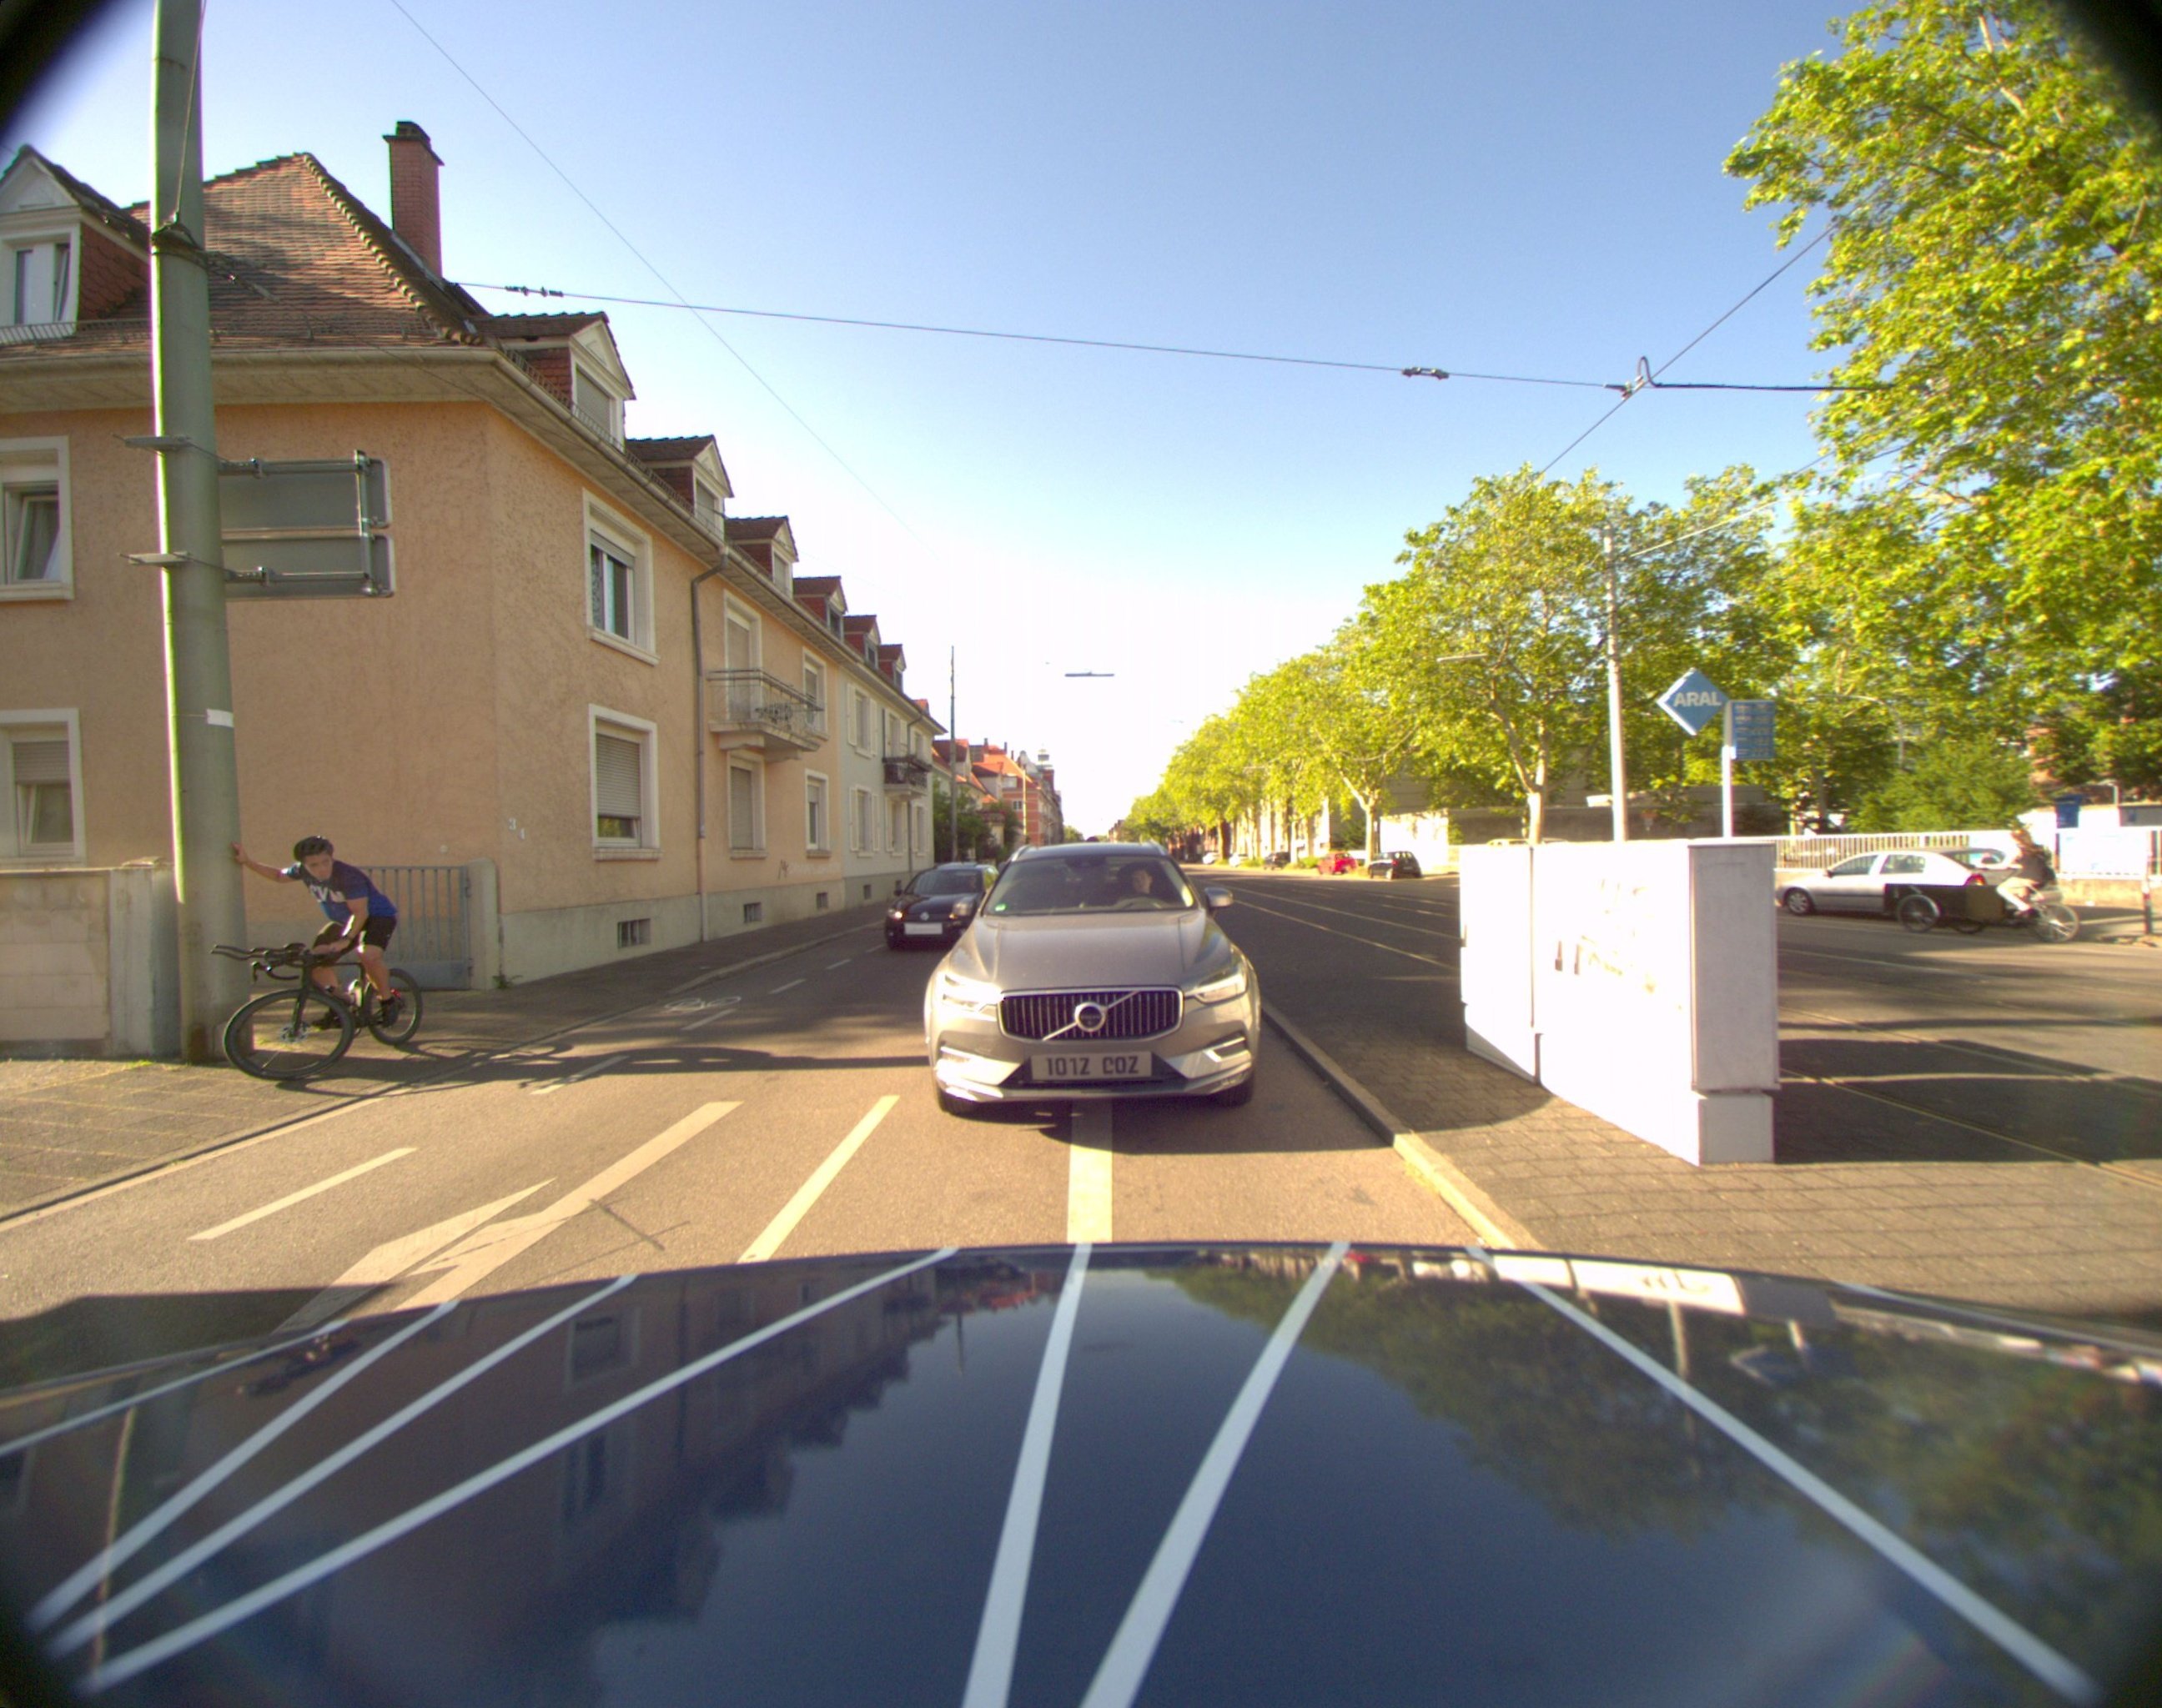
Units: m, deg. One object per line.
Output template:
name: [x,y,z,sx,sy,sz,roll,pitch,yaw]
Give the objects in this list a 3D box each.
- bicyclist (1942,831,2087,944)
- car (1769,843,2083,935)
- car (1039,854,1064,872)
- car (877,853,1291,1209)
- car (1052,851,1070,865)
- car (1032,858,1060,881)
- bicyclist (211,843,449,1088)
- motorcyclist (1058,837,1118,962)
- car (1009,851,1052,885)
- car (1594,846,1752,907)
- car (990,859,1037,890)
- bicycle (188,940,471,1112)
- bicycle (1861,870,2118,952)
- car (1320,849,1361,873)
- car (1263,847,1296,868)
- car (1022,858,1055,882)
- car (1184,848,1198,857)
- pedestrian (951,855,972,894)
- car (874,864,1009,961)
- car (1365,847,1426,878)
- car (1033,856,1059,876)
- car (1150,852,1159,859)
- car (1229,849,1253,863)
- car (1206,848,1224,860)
bicyclist: [14.202,0.484,11.599,0.934,1.628,1.028,-1,1,0]
car: [16.246,0.596,14.981,1.795,1.455,3.966,-4,0,2]
car: [-2.565,0.764,66.818,1.875,1.477,4.000,-1,0,1]
car: [0.043,0.849,5.790,1.940,1.650,4.321,-1,0,1]
car: [-2.209,0.446,85.480,1.875,1.477,4.000,-1,0,1]
car: [-2.469,1.082,54.428,1.785,1.468,4.000,-1,0,1]
bicyclist: [-6.146,0.859,6.279,1.076,1.854,0.846,2,1,1]
motorcyclist: [0.109,0.675,11.921,0.827,1.832,1.159,-2,1,1]
car: [-2.790,0.713,42.874,1.751,1.767,5.351,-1,0,3]
car: [16.431,0.574,21.330,1.692,1.455,3.519,-4,0,2]
car: [-3.212,0.961,37.014,1.647,1.357,3.868,-1,0,4]
bicycle: [-5.941,1.300,6.164,0.572,0.986,1.698,2,0,1]
bicycle: [14.136,0.837,12.003,1.059,1.095,2.519,0,0,1]
car: [16.941,0.433,49.740,1.641,1.499,3.046,-1,0,1]
car: [17.192,0.284,66.031,1.802,1.652,4.000,-1,0,1]
car: [-2.685,0.988,48.292,1.785,1.346,4.000,-1,0,1]
car: [18.188,-0.223,125.619,1.802,1.504,4.000,-1,0,1]
pedestrian: [-5.332,0.901,33.856,0.694,1.652,1.098,-2,1,0]
car: [-2.513,0.998,14.662,1.762,1.513,4.101,-1,0,1]
car: [16.881,0.420,40.970,1.826,1.521,3.653,-2,0,1]
car: [-2.754,0.942,60.664,1.785,1.468,4.000,-1,0,1]
car: [16.980,0.282,176.266,1.802,1.504,4.000,-1,0,1]
car: [17.541,0.219,83.417,1.802,1.489,4.000,-1,0,1]
car: [17.727,-0.013,100.661,1.802,1.504,4.000,-1,0,1]
